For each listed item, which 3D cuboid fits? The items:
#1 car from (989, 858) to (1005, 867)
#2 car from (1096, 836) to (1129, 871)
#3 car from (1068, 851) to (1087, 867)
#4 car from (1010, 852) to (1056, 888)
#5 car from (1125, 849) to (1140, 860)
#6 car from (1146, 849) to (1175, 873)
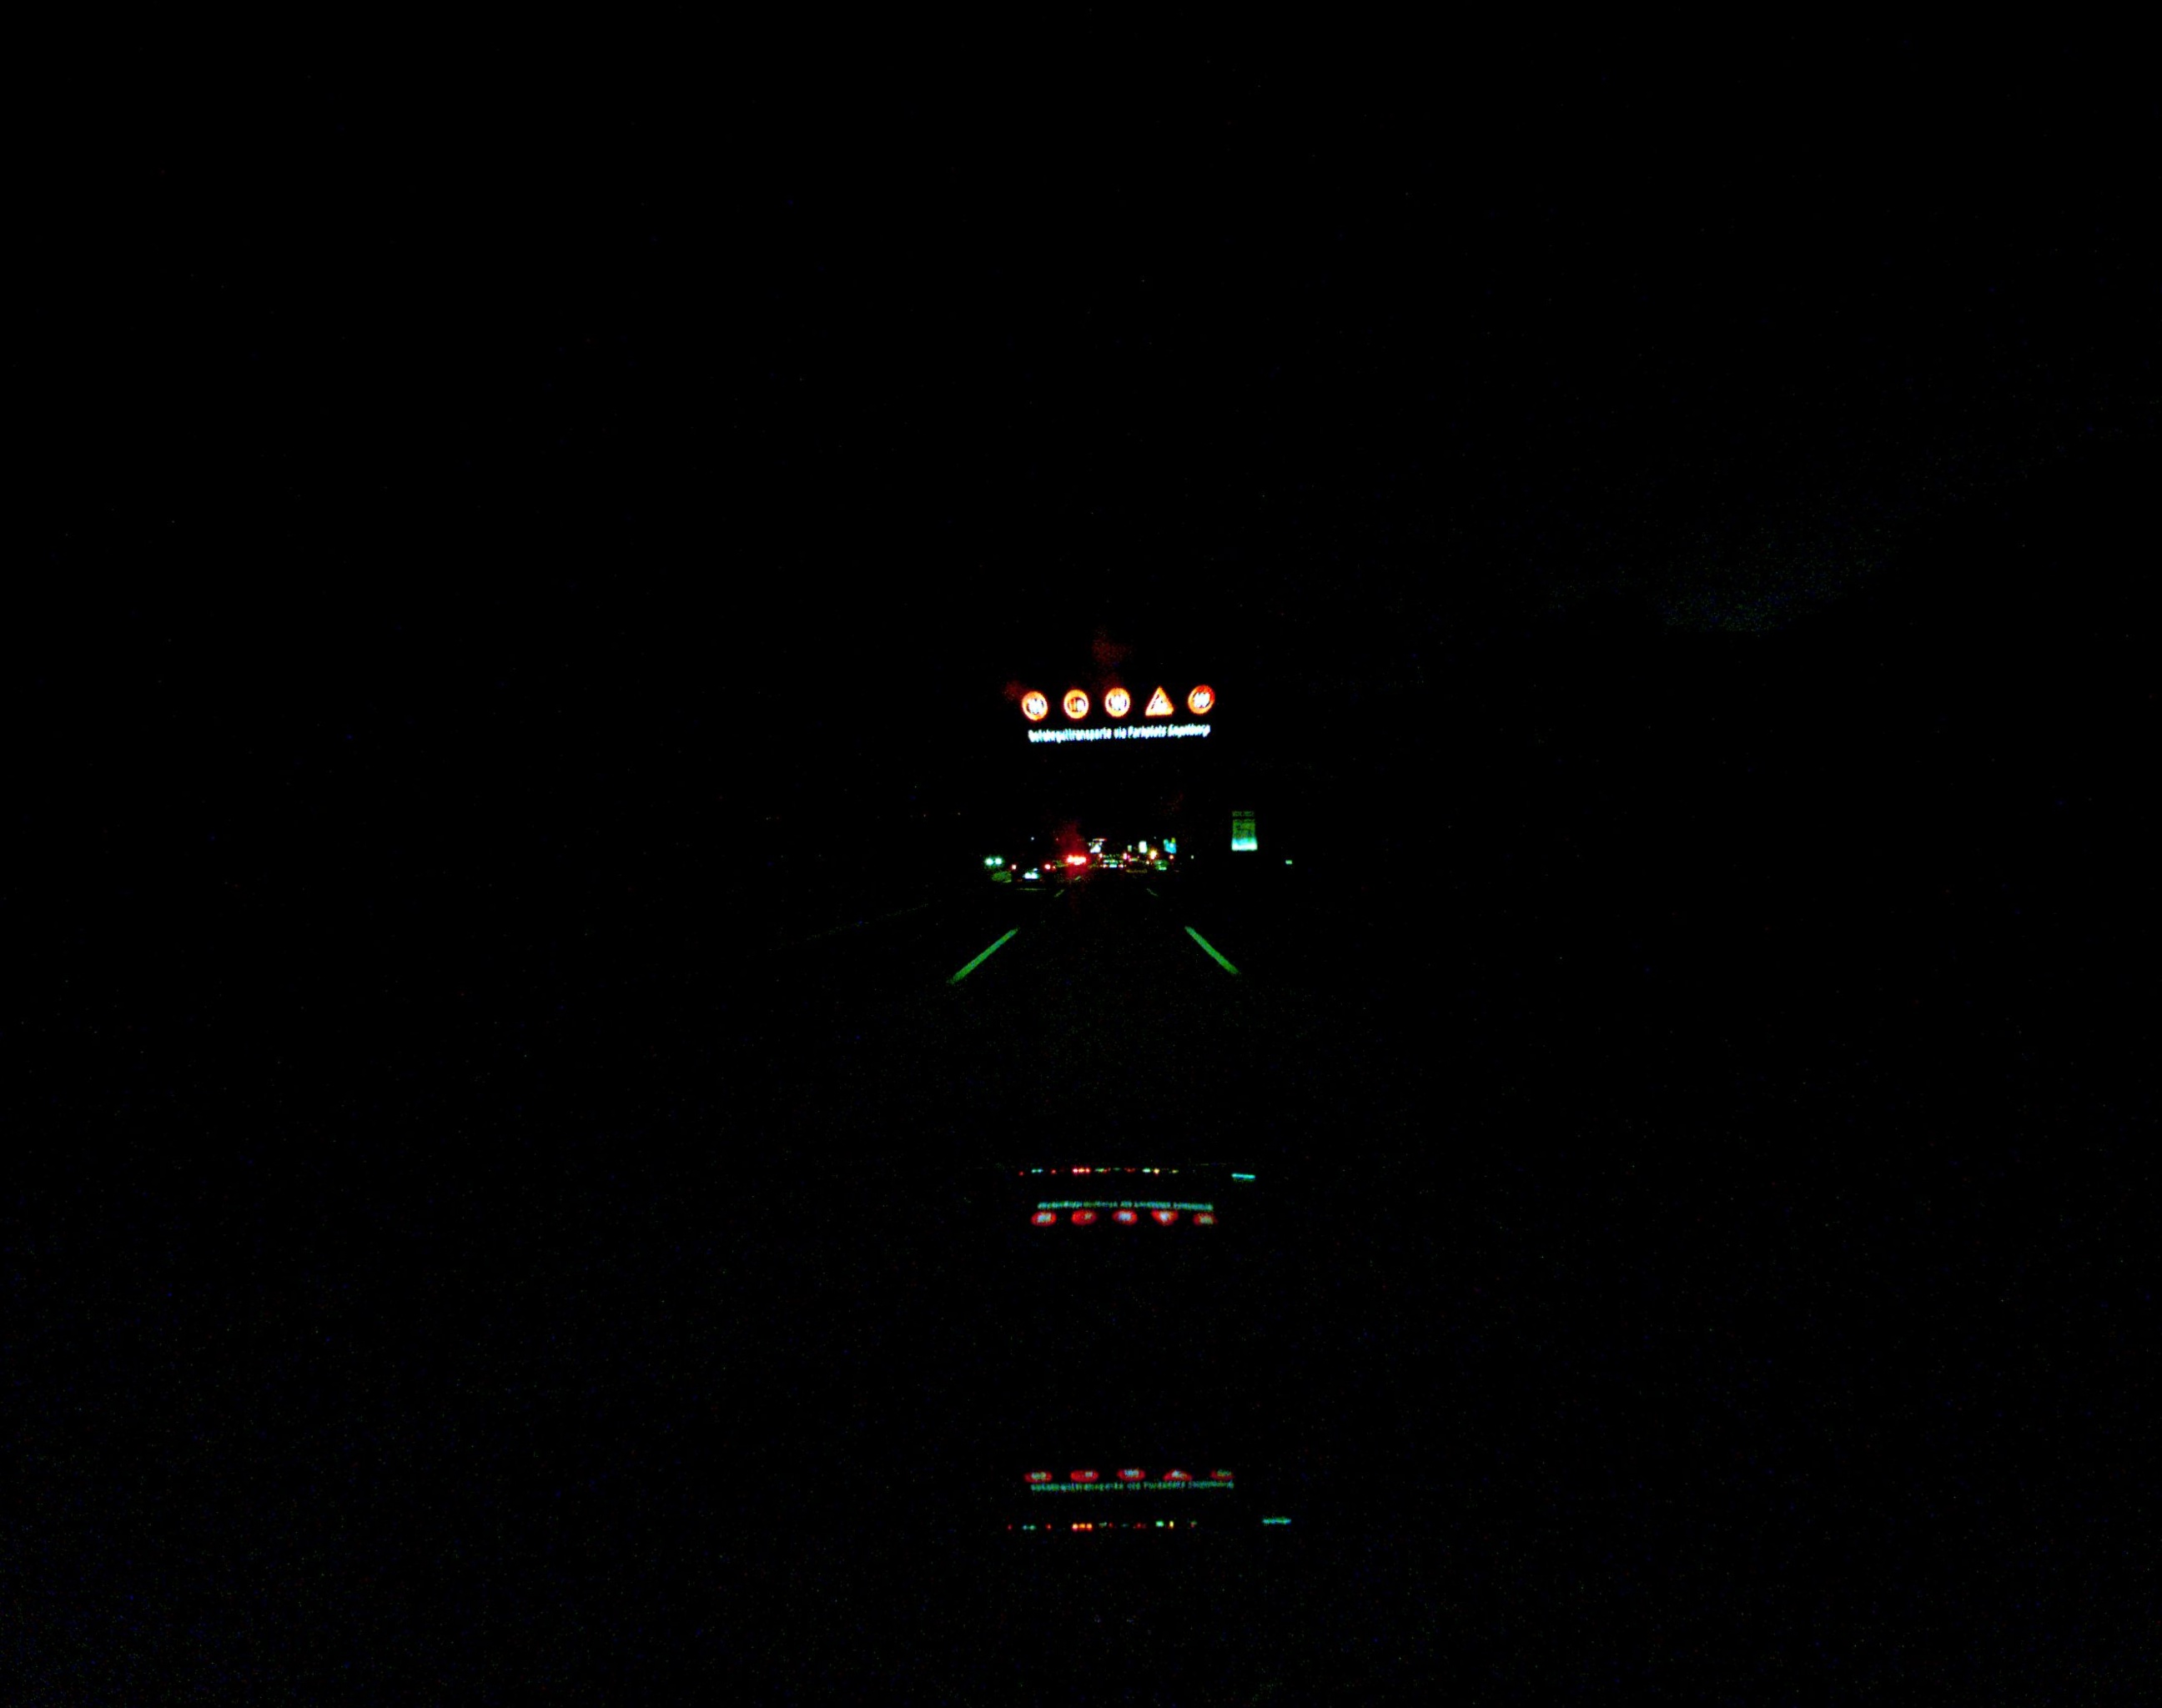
[{"bbox_3d":[-14.281,1.440,138.640,1.956,1.538,5.188,-2,0,2],"label":"car"},{"bbox_3d":[2.442,-0.060,62.649,2.342,2.535,5.704,-2,0,2],"label":"car"},{"bbox_3d":[-0.313,0.464,81.415,1.738,1.440,4.370,-2,0,2],"label":"car"},{"bbox_3d":[-2.077,0.657,36.065,1.788,1.469,3.773,0,0,0],"label":"car"},{"bbox_3d":[7.417,0.044,117.587,2.154,1.563,4.725,-1,0,2],"label":"car"},{"bbox_3d":[5.513,0.443,56.922,1.640,1.596,4.511,0,0,1],"label":"car"}]
